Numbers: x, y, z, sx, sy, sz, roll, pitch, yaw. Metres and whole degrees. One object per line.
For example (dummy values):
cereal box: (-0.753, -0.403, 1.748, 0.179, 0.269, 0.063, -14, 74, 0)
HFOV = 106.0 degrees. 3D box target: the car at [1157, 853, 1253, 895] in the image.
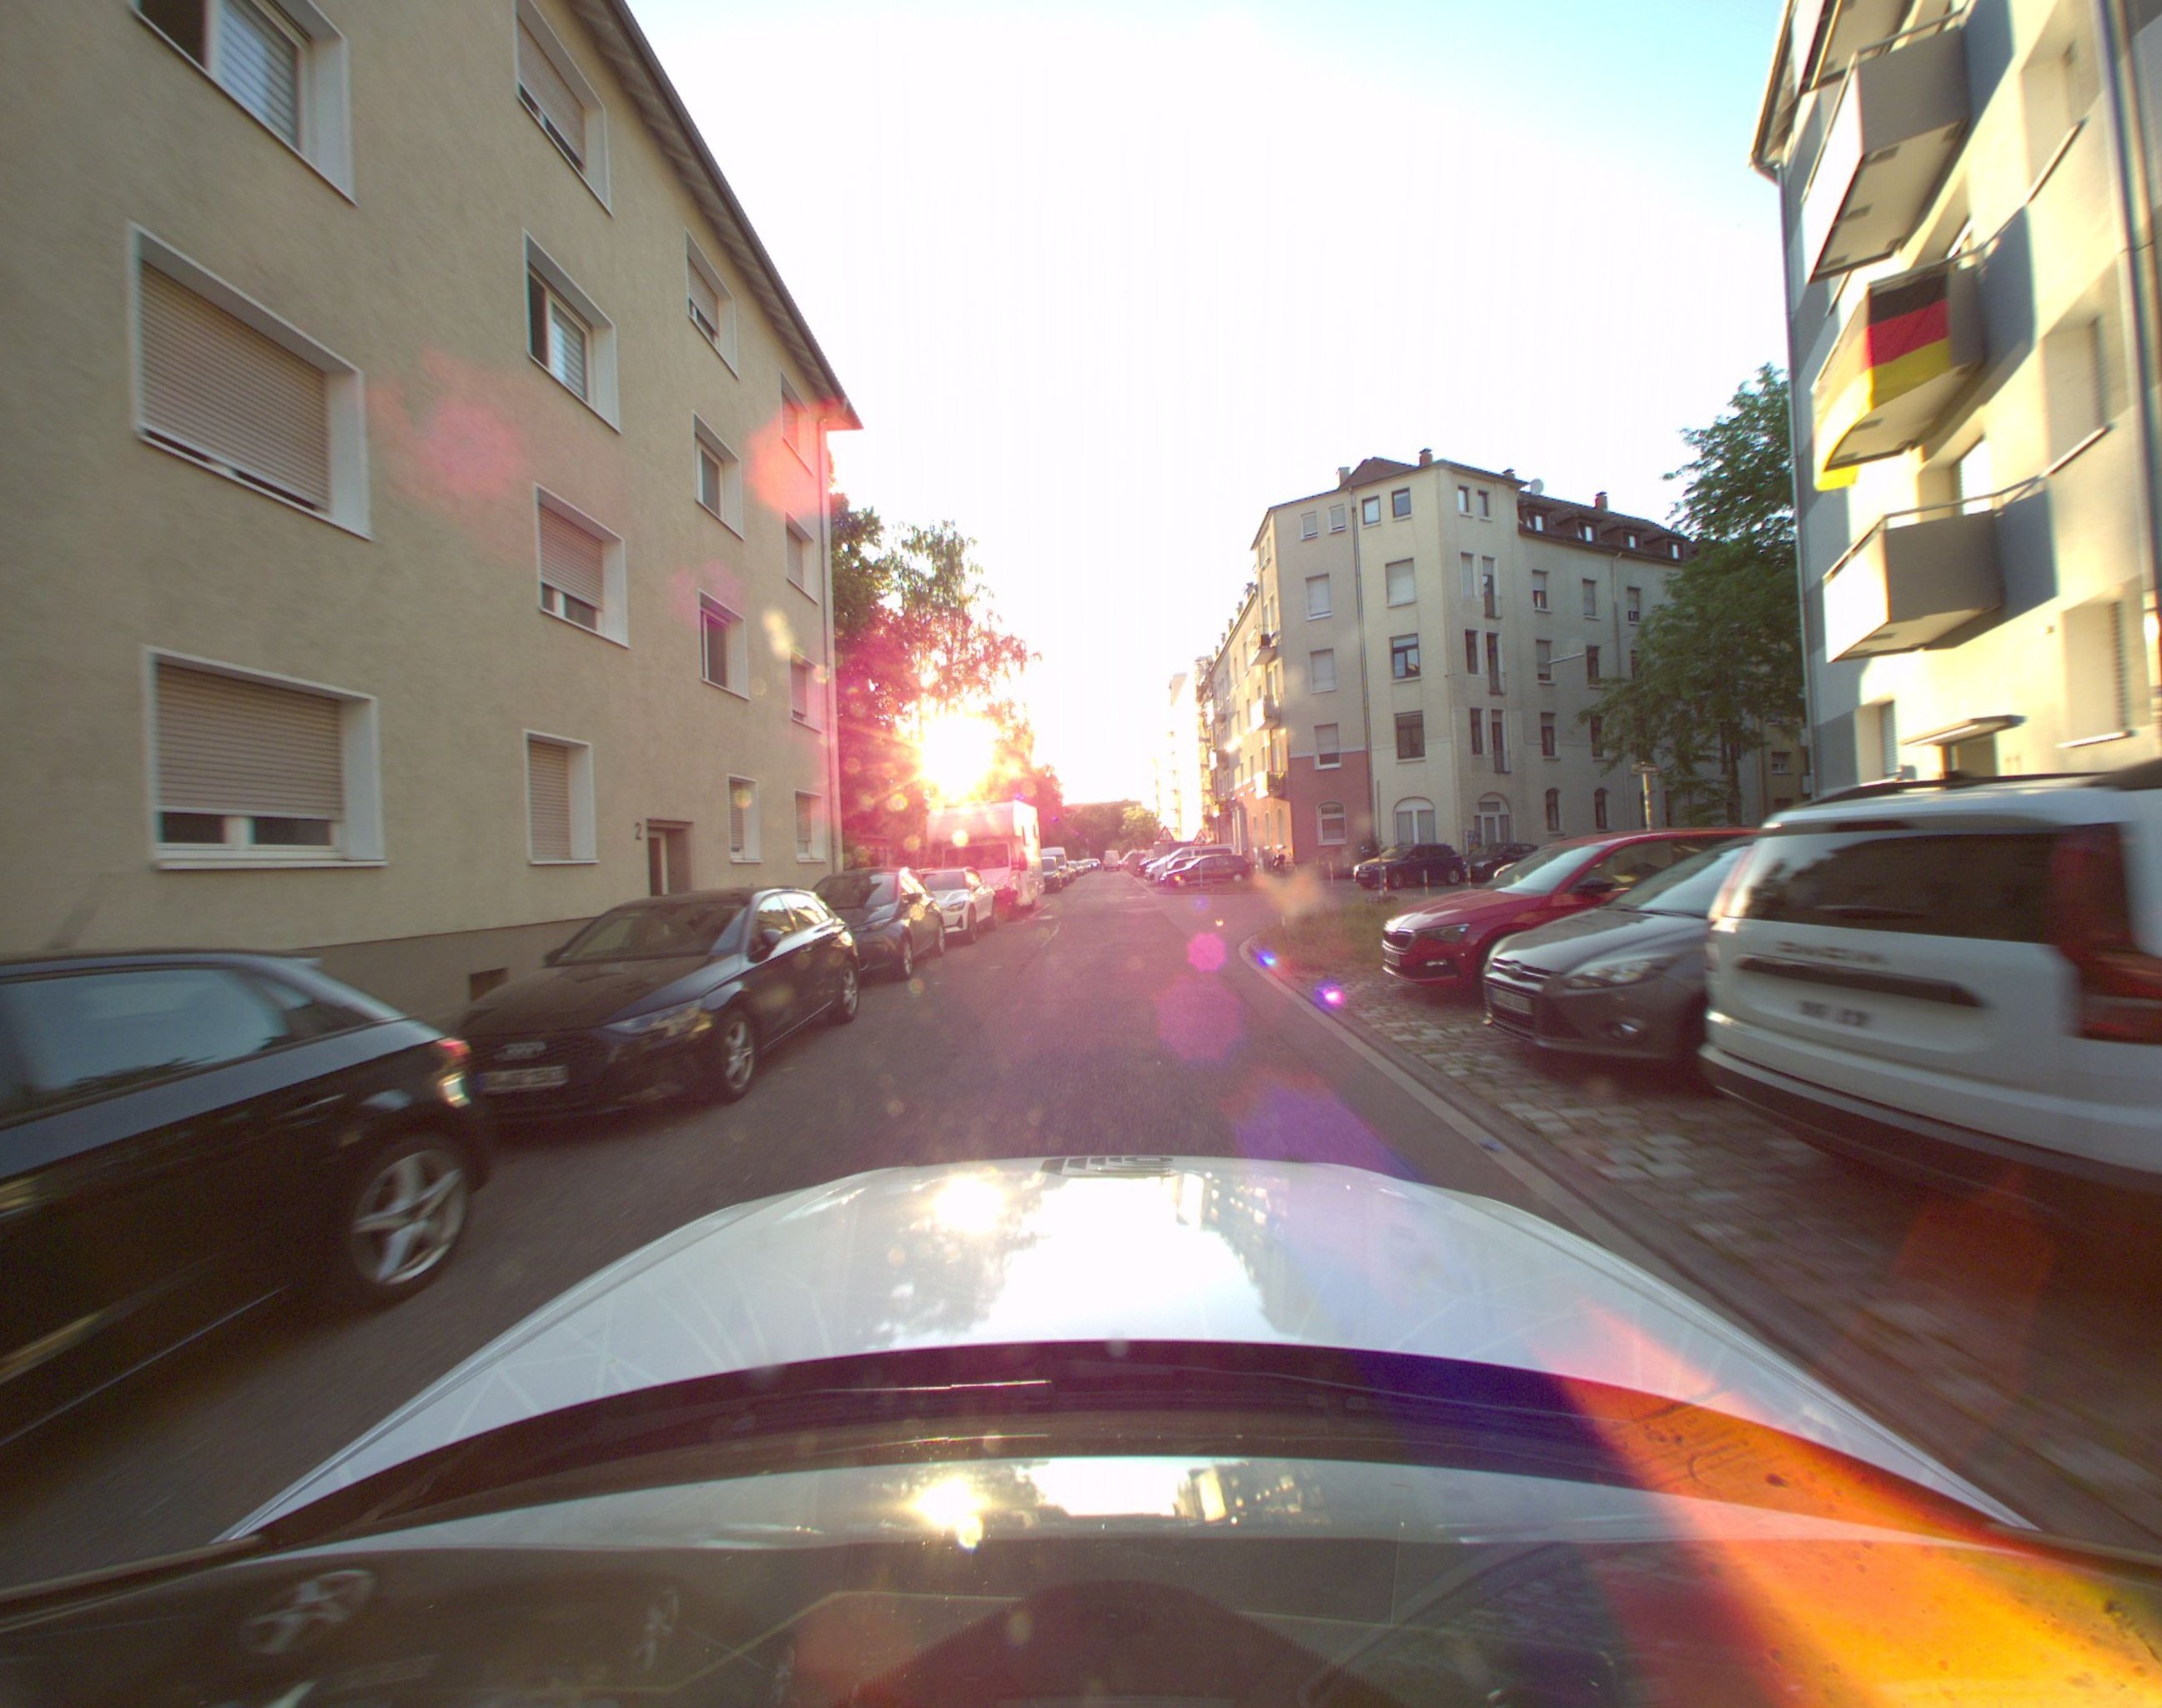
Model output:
car: (5.515, 0.887, 36.553, 3.973, 1.530, 1.659, -4, -1, 1)

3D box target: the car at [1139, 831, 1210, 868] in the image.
car: (5.645, -0.249, 49.739, 3.977, 2.014, 1.998, -3, -1, -2)

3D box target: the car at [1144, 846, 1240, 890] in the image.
car: (5.862, 0.721, 43.477, 4.796, 1.968, 1.739, -4, -1, 1)

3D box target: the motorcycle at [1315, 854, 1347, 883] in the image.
motorcycle: (10.999, 0.630, 35.812, 0.512, 1.228, 1.993, -3, -1, 42)

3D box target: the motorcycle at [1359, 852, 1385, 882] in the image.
motorcycle: (12.572, 0.539, 35.151, 0.512, 1.228, 1.994, -3, -1, 34)

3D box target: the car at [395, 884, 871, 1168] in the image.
car: (-3.119, 1.075, 6.696, 1.647, 1.434, 3.875, -4, -1, 0)

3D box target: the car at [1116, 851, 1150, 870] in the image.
car: (7.565, 0.930, 119.455, 4.796, 2.408, 1.739, -4, -1, 1)

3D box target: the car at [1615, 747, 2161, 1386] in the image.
car: (4.785, 0.404, 3.019, 4.309, 1.637, 1.818, -5, -1, 1)

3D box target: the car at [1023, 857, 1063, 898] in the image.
car: (-1.851, 1.134, 40.545, 1.647, 1.830, 3.875, -4, -1, 0)

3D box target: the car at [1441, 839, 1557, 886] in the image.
car: (16.023, 0.318, 31.245, 3.898, 1.575, 1.700, -2, -1, -20)

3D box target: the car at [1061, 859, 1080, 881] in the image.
car: (-0.959, 1.495, 76.375, 1.647, 1.830, 3.875, -4, -1, 0)

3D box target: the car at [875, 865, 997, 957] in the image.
car: (-2.822, 1.056, 16.627, 1.647, 1.541, 3.875, -4, -1, 0)

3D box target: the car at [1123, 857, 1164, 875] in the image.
car: (6.260, 1.179, 81.813, 3.973, 1.530, 1.659, -4, -2, 1)

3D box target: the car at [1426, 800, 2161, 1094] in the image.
car: (4.646, 0.551, 5.567, 3.798, 1.428, 1.635, -5, -1, 1)

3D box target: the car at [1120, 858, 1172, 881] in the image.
car: (5.146, 1.239, 65.256, 3.973, 1.530, 1.659, -4, -1, 1)

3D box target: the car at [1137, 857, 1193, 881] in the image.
car: (6.251, 1.114, 60.768, 3.973, 1.530, 1.659, -4, -1, 1)

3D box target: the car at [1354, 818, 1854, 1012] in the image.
car: (4.907, 0.558, 8.045, 3.798, 1.428, 1.635, -5, -1, 1)

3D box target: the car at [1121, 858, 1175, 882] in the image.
car: (5.187, 1.214, 63.279, 3.973, 1.530, 1.659, -4, -1, 1)

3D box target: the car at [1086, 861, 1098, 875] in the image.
car: (1.570, 1.971, 117.464, 1.647, 1.830, 3.875, -4, -1, 0)

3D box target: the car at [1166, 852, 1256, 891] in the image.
car: (6.148, 0.838, 38.859, 3.973, 1.530, 1.659, -4, -1, 1)

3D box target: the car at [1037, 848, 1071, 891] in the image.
car: (-1.665, 0.969, 51.444, 1.764, 2.445, 5.145, -4, -1, 0)

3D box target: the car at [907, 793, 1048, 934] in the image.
car: (-2.709, 0.275, 23.896, 2.610, 3.269, 7.700, -4, -1, 2)

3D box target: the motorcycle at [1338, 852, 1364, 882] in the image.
motorcycle: (11.735, 0.572, 35.355, 0.512, 1.228, 1.994, -3, -1, 34)

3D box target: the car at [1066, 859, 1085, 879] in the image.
car: (-0.522, 1.519, 80.995, 1.647, 1.830, 3.875, -4, -1, 0)

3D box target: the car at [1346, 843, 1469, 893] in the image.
car: (11.653, 0.495, 29.107, 3.898, 1.575, 1.700, -2, -1, -20)

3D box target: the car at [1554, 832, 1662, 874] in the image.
car: (21.868, -0.038, 33.809, 3.898, 1.575, 1.700, -2, -1, -20)

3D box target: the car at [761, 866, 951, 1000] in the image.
car: (-3.149, 1.027, 12.219, 1.647, 1.564, 3.875, -4, -1, 0)

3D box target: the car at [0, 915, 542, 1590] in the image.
car: (-3.351, 1.033, 1.821, 1.647, 1.434, 3.795, -4, -1, 0)

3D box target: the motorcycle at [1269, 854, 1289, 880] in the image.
motorcycle: (9.640, 0.642, 39.749, 0.515, 1.228, 1.982, -2, -1, 2)

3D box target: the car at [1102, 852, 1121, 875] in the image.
car: (4.023, 1.255, 108.014, 2.122, 2.717, 4.833, -4, -1, 0)

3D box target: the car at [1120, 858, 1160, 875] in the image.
car: (6.212, 1.327, 85.972, 3.973, 1.530, 1.659, -4, -1, 1)

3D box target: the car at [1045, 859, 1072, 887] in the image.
car: (-1.538, 1.311, 57.570, 1.647, 1.830, 3.875, -4, -1, 0)

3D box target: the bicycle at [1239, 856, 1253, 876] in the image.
bicycle: (10.177, 0.726, 50.270, 0.515, 1.228, 1.982, -2, -1, 2)
